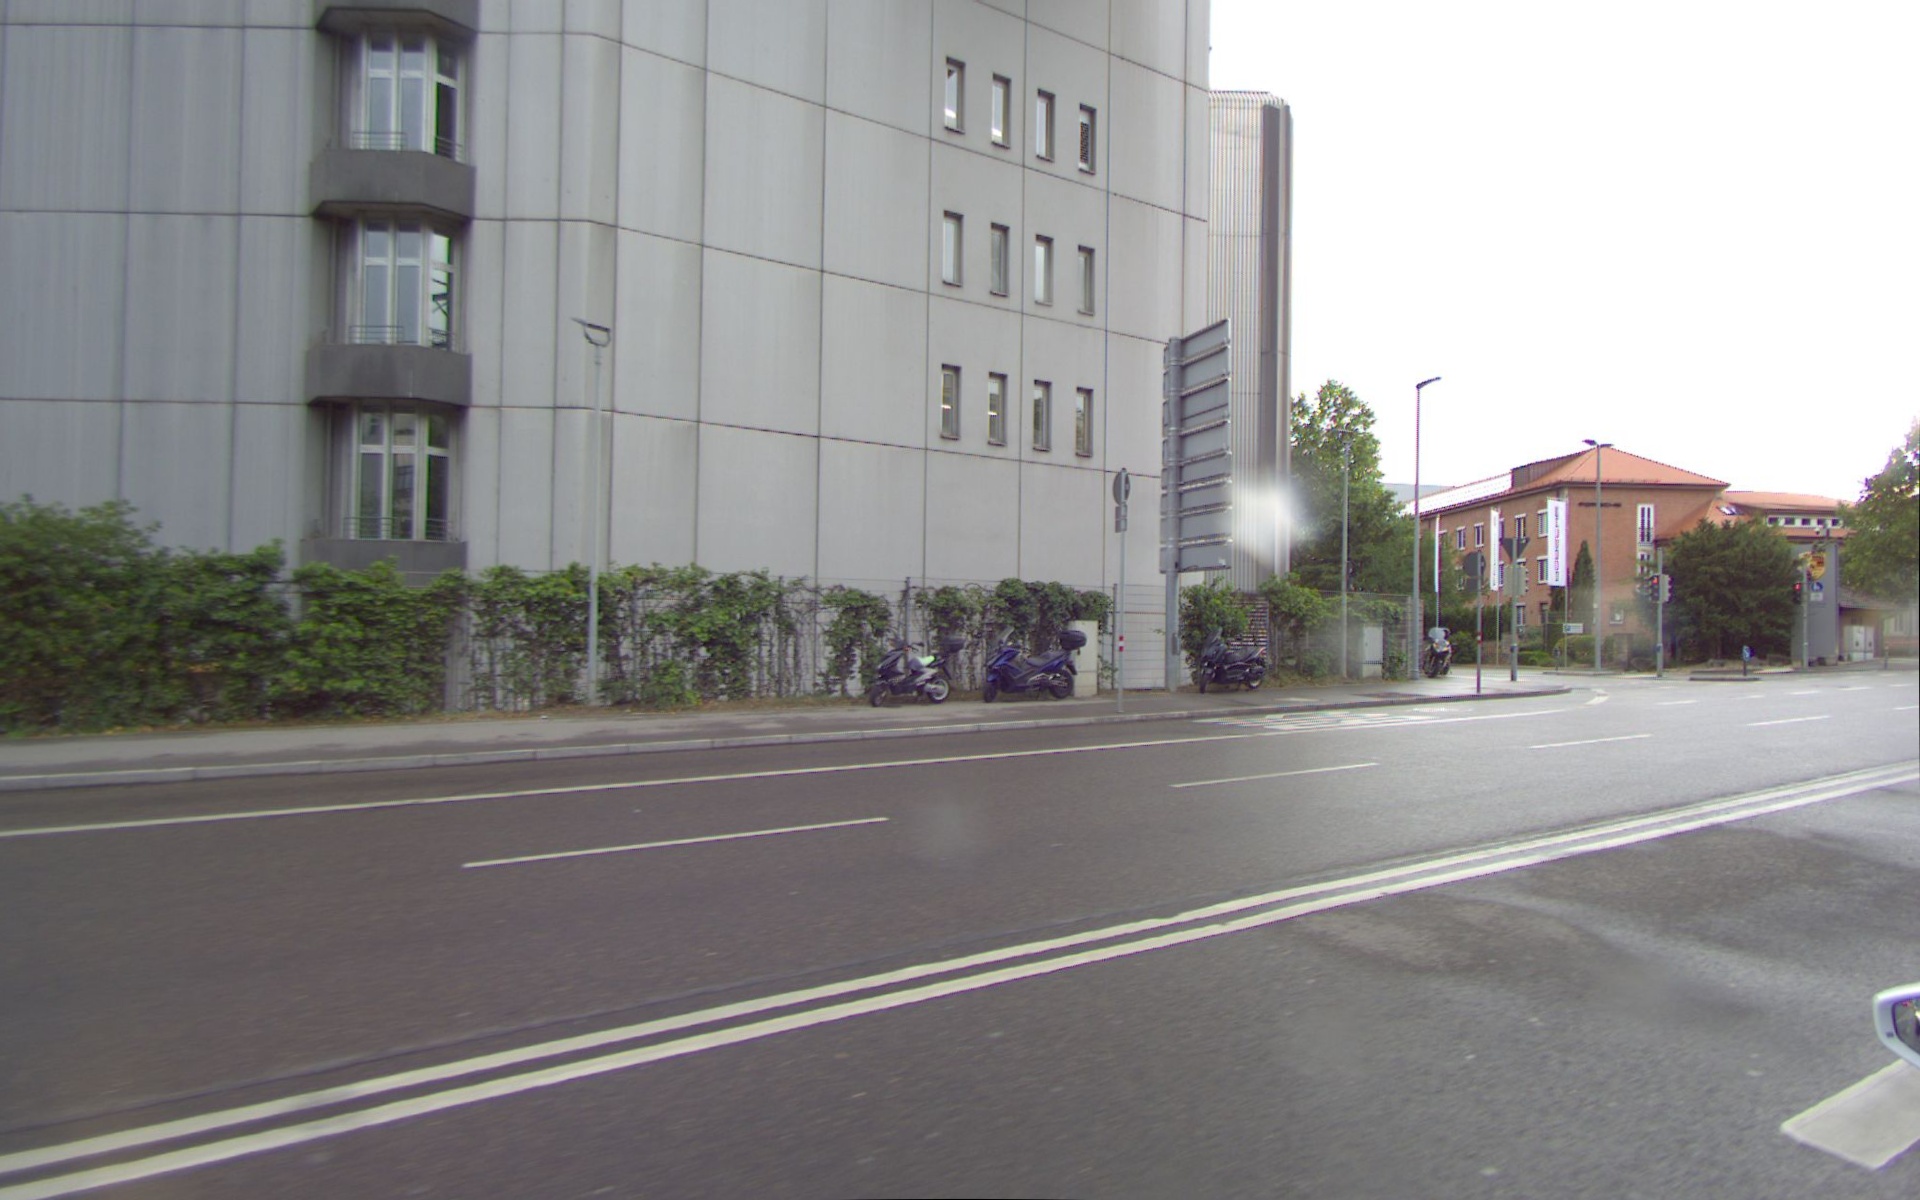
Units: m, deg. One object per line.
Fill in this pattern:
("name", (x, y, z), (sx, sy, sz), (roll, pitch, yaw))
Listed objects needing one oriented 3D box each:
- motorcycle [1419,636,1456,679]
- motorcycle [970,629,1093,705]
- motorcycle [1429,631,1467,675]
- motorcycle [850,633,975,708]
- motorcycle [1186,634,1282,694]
("motorcycle", (14.427, 1.701, 30.296), (0.759, 1.234, 2.504), (-1, -2, 31))
("motorcycle", (1.382, 1.252, 19.231), (2.342, 1.365, 0.781), (1, -2, -31))
("motorcycle", (15.904, 1.704, 32.719), (1.008, 1.355, 2.771), (-1, -2, 28))
("motorcycle", (-0.838, 1.234, 18.045), (2.132, 1.267, 0.781), (1, -2, -31))
("motorcycle", (6.049, 1.392, 22.127), (2.132, 1.263, 0.781), (1, -2, -31))
